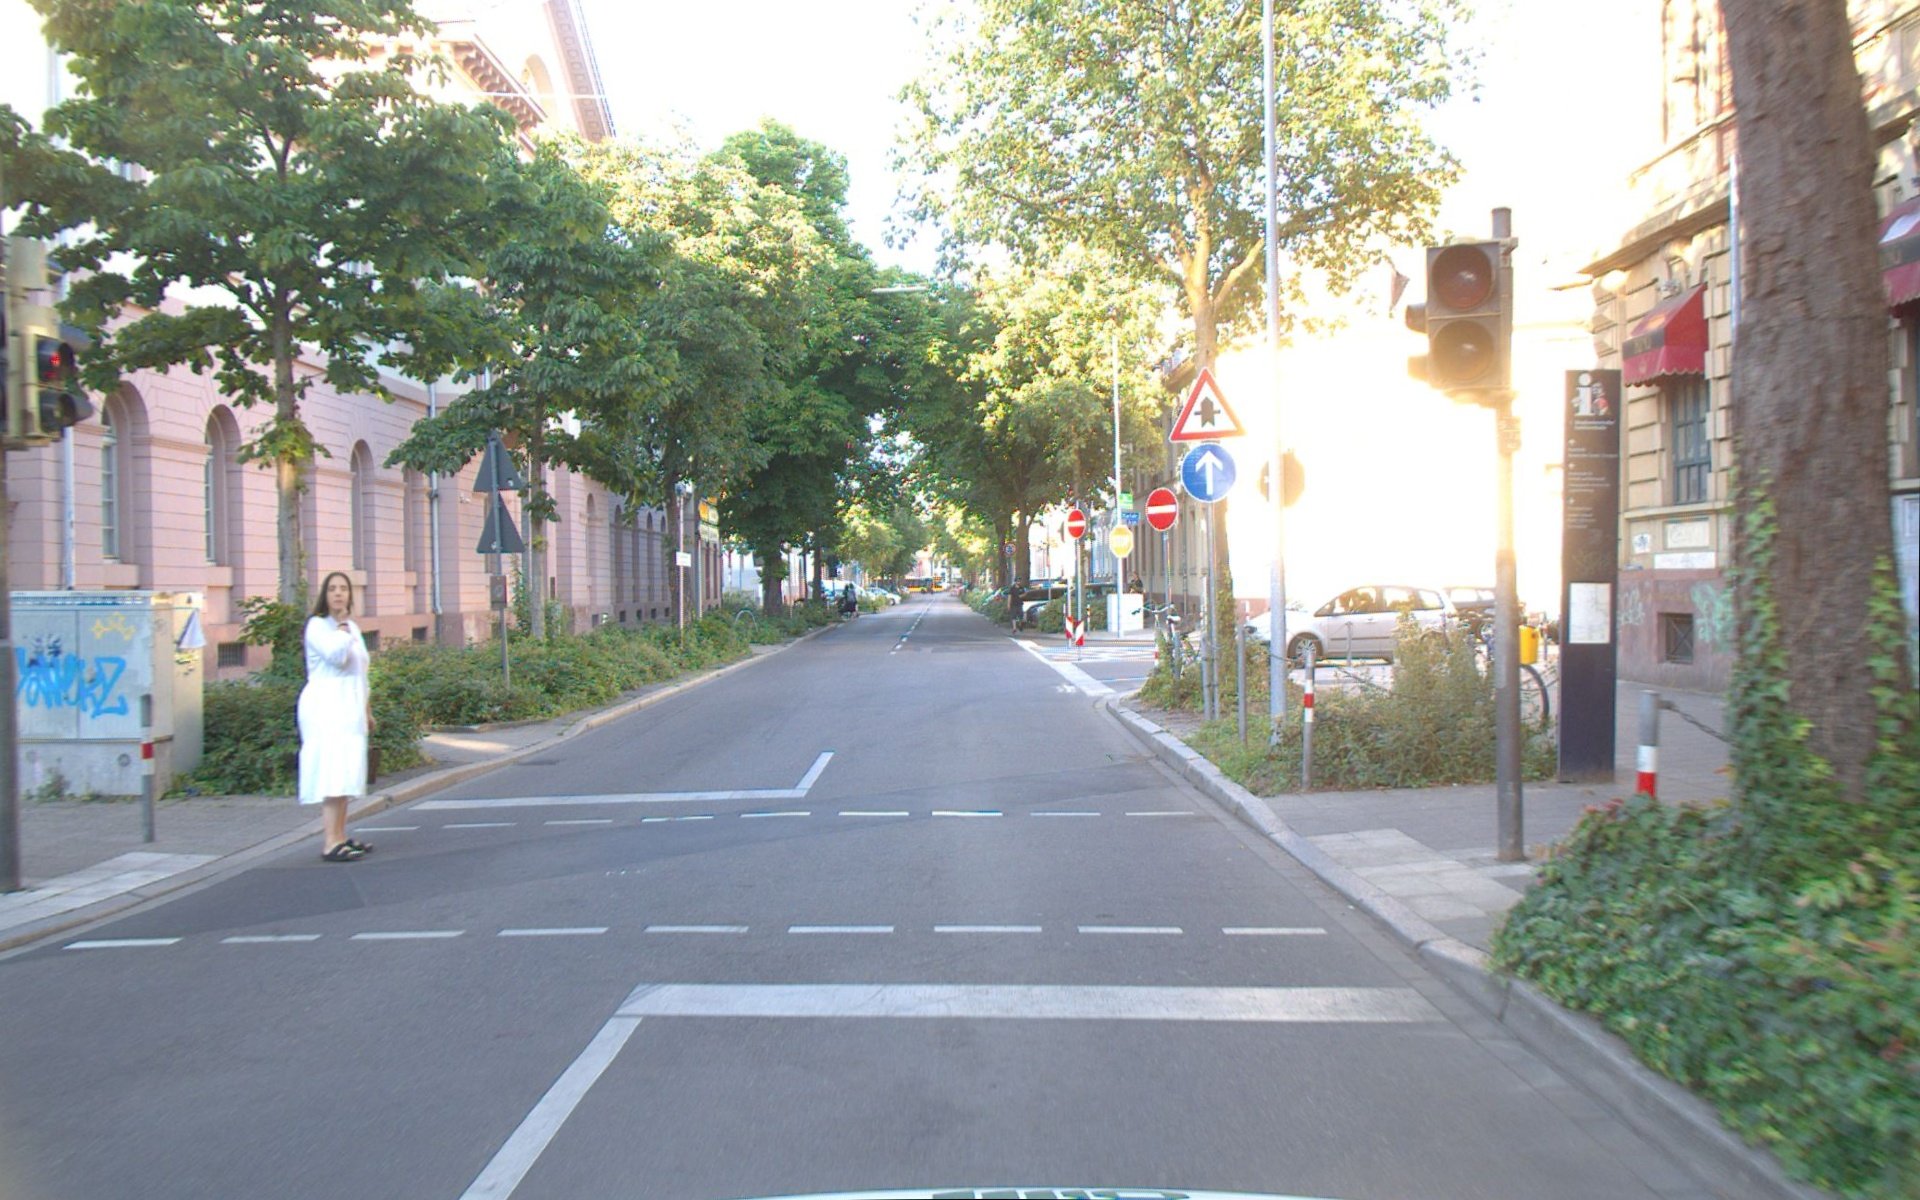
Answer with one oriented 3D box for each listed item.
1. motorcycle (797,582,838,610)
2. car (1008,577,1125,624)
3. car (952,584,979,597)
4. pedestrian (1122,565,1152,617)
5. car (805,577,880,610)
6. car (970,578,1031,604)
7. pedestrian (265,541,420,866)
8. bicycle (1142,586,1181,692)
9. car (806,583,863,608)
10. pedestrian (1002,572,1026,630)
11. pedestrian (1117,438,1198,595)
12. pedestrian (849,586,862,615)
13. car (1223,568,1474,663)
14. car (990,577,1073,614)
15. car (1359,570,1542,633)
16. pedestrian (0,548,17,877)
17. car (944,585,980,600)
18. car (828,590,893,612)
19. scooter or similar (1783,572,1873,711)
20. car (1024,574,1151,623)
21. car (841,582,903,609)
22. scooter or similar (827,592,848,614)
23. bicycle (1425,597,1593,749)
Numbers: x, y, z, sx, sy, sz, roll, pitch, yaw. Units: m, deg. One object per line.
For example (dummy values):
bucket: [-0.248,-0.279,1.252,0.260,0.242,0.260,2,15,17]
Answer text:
motorcycle: [-6.771,-0.189,78.716,1.880,1.280,0.591,-1,0,-1]
car: [3.841,-0.006,60.130,4.107,1.506,1.852,-3,1,-1]
car: [0.818,-1.468,246.314,3.902,1.870,2.002,-1,0,7]
pedestrian: [6.098,-0.314,56.951,0.923,1.736,0.782,-1,2,1]
car: [-8.090,-0.482,113.891,4.961,2.119,2.263,-1,1,-1]
car: [3.040,-0.671,124.213,4.499,1.792,2.222,-1,1,0]
pedestrian: [-3.812,0.607,10.266,0.755,1.921,0.790,-1,0,-12]
bicycle: [2.775,0.518,22.708,0.407,1.396,1.289,-2,0,11]
car: [-8.203,-0.318,108.496,3.652,1.534,1.871,-1,1,-4]
pedestrian: [1.801,0.024,55.240,0.778,1.901,0.752,-1,0,1]
pedestrian: [2.808,-1.166,23.614,1.022,2.184,1.063,0,0,0]
pedestrian: [-5.222,0.039,82.729,0.641,1.419,0.607,0,0,-1]
car: [7.369,0.268,31.539,4.261,1.682,1.881,-1,0,-11]
car: [3.483,-0.224,81.023,3.933,1.651,1.780,-2,0,-2]
car: [12.780,0.047,43.128,4.322,1.569,1.865,-1,1,26]
pedestrian: [-5.767,0.612,9.004,0.775,1.822,0.770,2,1,25]
car: [0.213,-0.790,179.118,3.907,1.467,1.696,-1,1,-3]
car: [-8.028,0.047,133.961,4.958,1.645,2.264,-1,1,2]
scooter or similar: [7.903,0.355,15.082,0.246,1.214,1.093,-1,1,1]
car: [4.220,-0.065,55.166,4.025,1.516,1.850,-1,1,-2]
car: [-7.393,-0.423,139.361,4.960,2.119,2.263,-1,1,1]
scooter or similar: [-6.197,0.138,83.399,0.877,1.108,0.846,0,0,9]
bicycle: [4.619,0.571,14.090,0.513,1.172,2.247,-1,0,-5]
